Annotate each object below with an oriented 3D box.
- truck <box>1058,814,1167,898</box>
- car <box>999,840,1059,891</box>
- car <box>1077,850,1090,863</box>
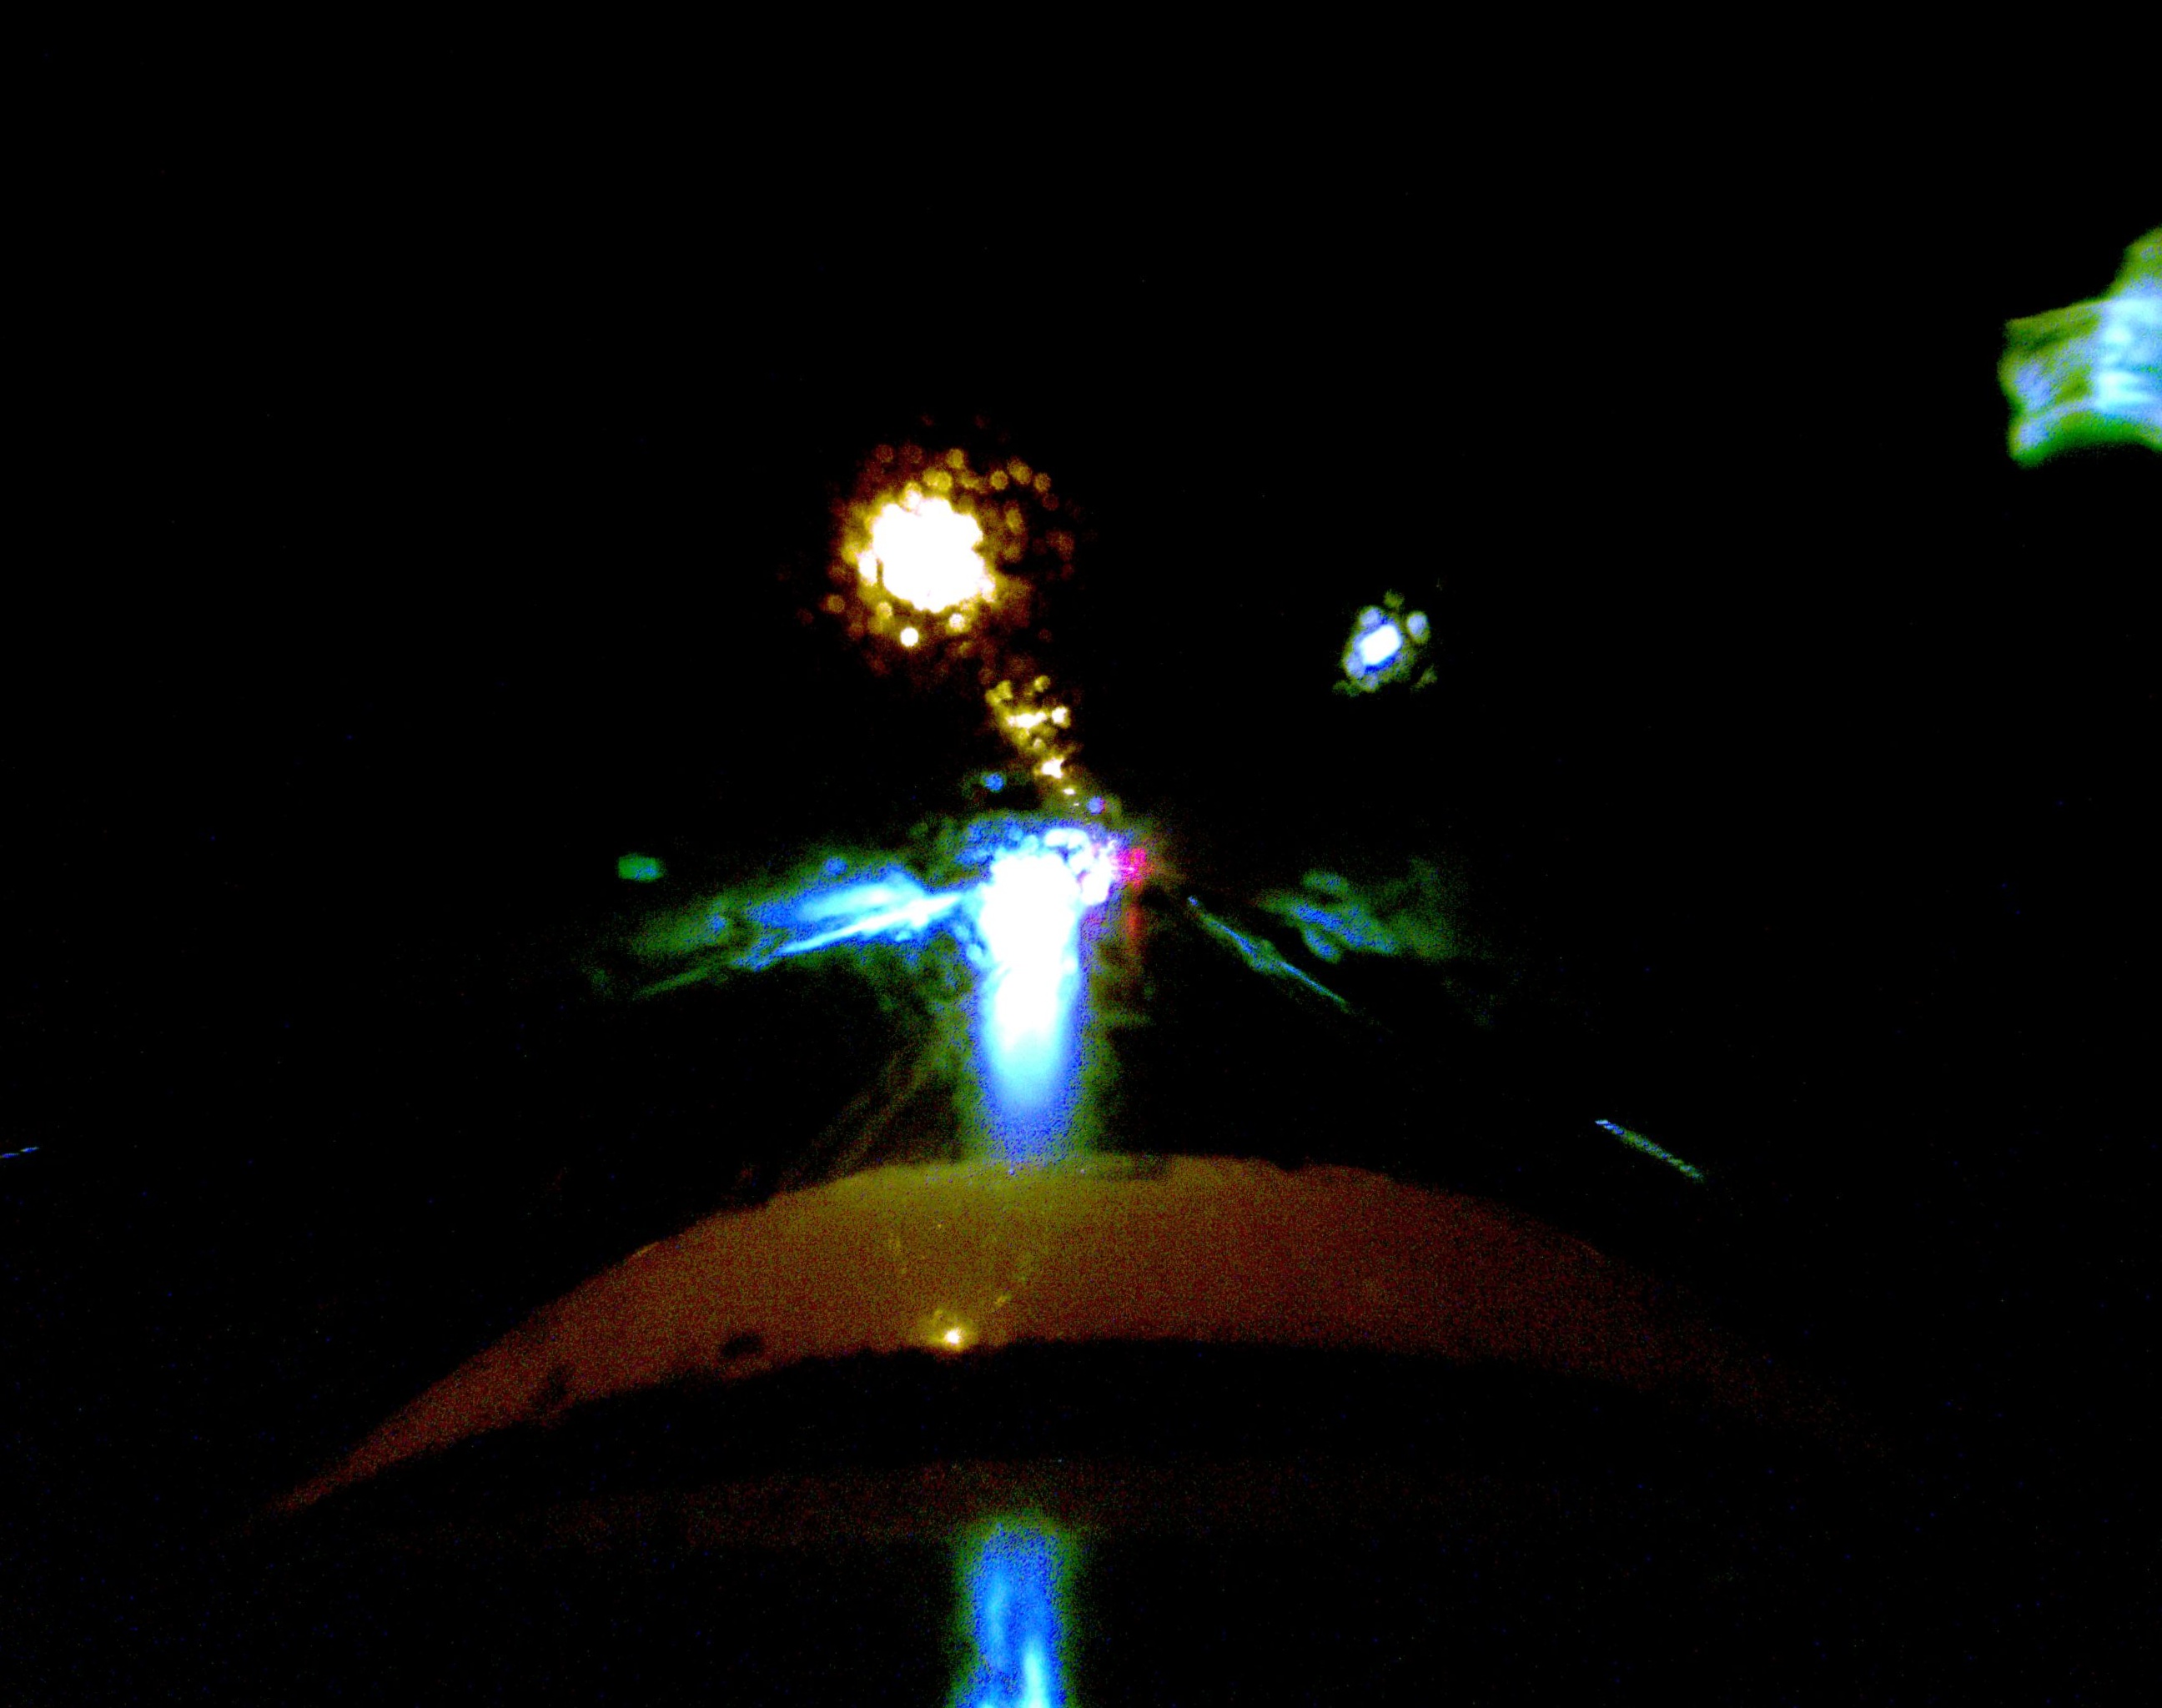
[{"bbox_3d":[1.194,0.093,31.498,3.522,2.693,8.959,-2,0,2],"label":"truck"},{"bbox_3d":[-2.124,0.458,34.574,2.077,2.013,4.562,-1,0,2],"label":"car"},{"bbox_3d":[0.344,0.333,108.011,1.592,1.613,3.997,-1,0,2],"label":"car"}]
